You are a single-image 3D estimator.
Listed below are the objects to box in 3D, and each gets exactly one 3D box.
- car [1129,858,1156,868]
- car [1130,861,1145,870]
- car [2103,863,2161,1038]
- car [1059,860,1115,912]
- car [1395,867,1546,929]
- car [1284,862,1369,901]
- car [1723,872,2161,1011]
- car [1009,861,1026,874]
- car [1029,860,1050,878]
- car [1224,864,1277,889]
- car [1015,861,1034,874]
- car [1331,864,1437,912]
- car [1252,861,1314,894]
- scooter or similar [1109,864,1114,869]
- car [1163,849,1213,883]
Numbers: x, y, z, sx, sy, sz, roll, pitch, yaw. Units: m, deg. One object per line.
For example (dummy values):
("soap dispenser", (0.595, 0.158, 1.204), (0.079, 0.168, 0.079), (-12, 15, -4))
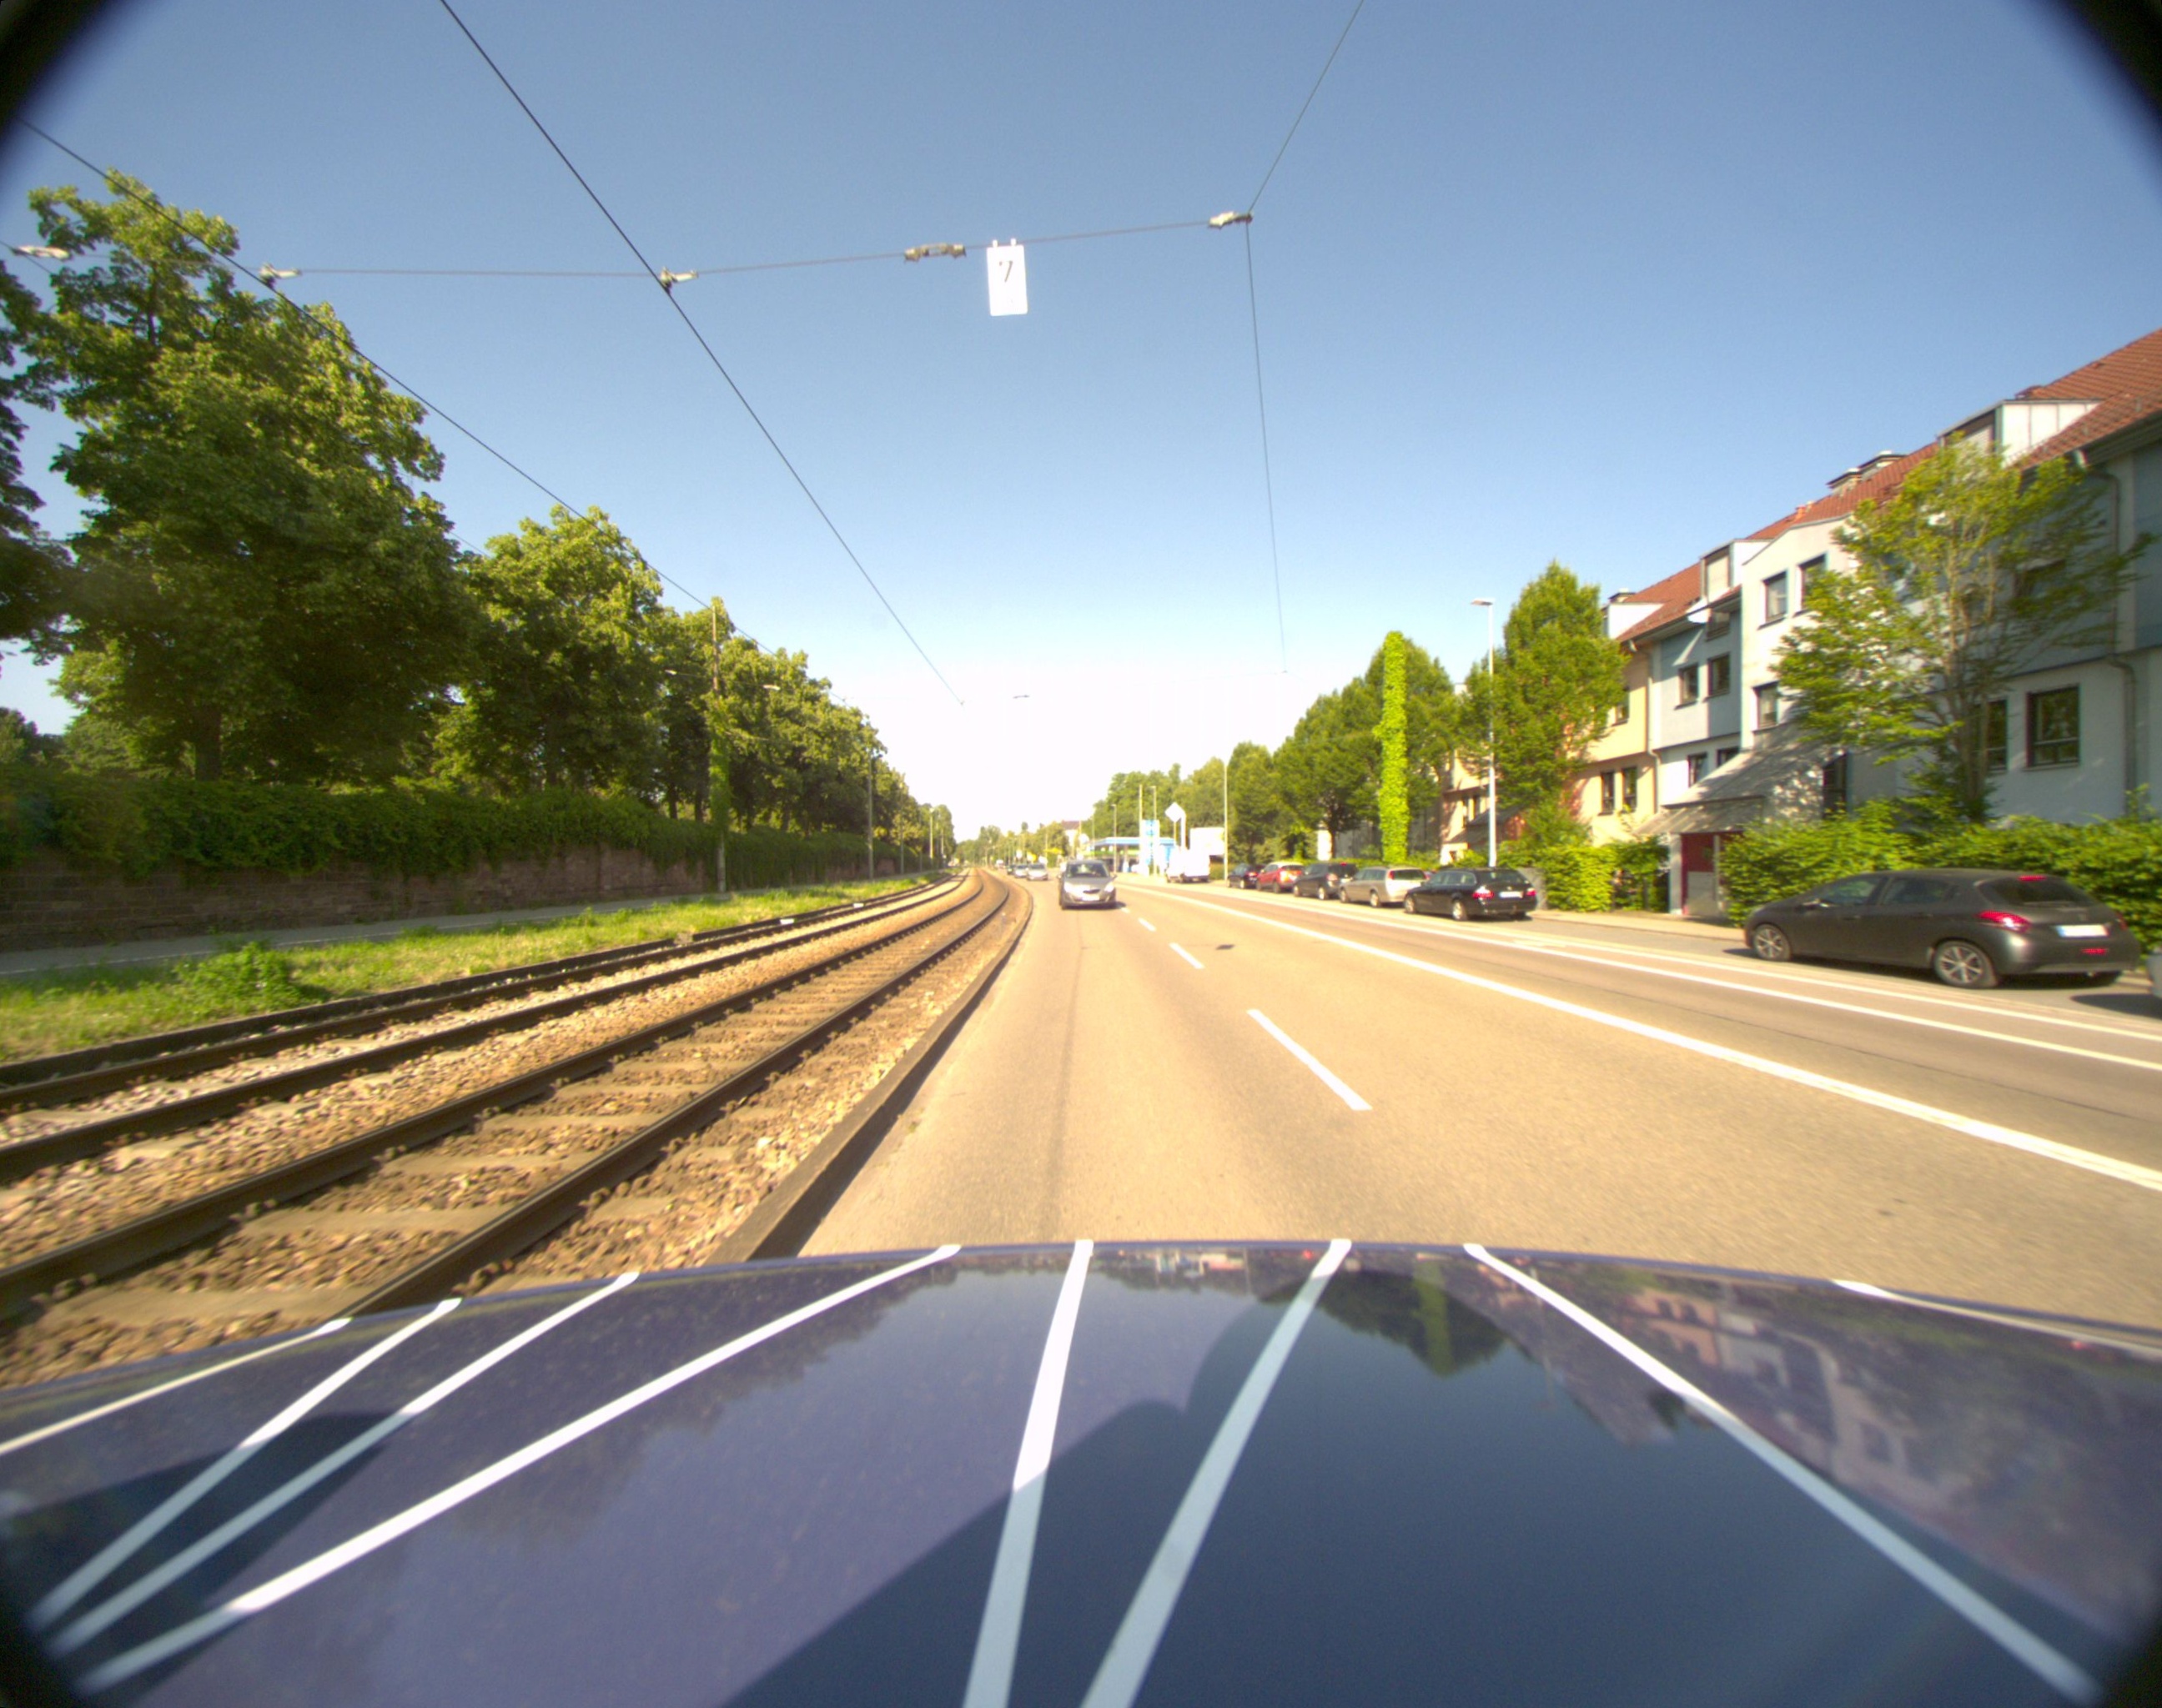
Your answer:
("car", (11.848, 1.737, 147.071), (5.085, 1.929, 1.857), (0, 0, -3))
("car", (9.616, 1.951, 129.876), (1.742, 1.481, 4.272), (0, 0, -7))
("car", (11.330, 0.917, 5.410), (1.672, 1.691, 4.825), (-2, 0, 2))
("car", (0.193, 1.007, 25.285), (1.730, 1.574, 3.763), (0, 0, 0))
("car", (11.139, 1.183, 22.198), (1.714, 1.463, 4.909), (-2, 0, -2))
("car", (10.704, 1.157, 33.529), (1.768, 1.564, 4.434), (-1, 0, -8))
("car", (11.573, 1.050, 10.675), (1.620, 1.457, 4.058), (-2, 0, 0))
("car", (-8.210, 1.708, 98.554), (1.711, 1.581, 3.996), (-2, 0, -11))
("car", (-3.677, 1.299, 66.680), (1.711, 1.487, 3.998), (-2, 0, -5))
("car", (9.891, 1.290, 44.722), (1.657, 1.416, 4.711), (0, -1, -5))
("car", (-5.856, 1.408, 78.635), (1.580, 1.306, 3.997), (-2, 0, -9))
("car", (11.074, 1.193, 28.175), (1.717, 1.463, 4.842), (-2, 1, -4))
("car", (10.383, 1.160, 39.350), (1.768, 1.564, 4.160), (0, 0, -5))
("scooter or similar", (5.898, 2.427, 147.288), (1.031, 1.103, 0.350), (0, 0, 0))
("car", (8.288, 0.917, 59.594), (2.159, 2.443, 6.180), (-2, 0, -8))
